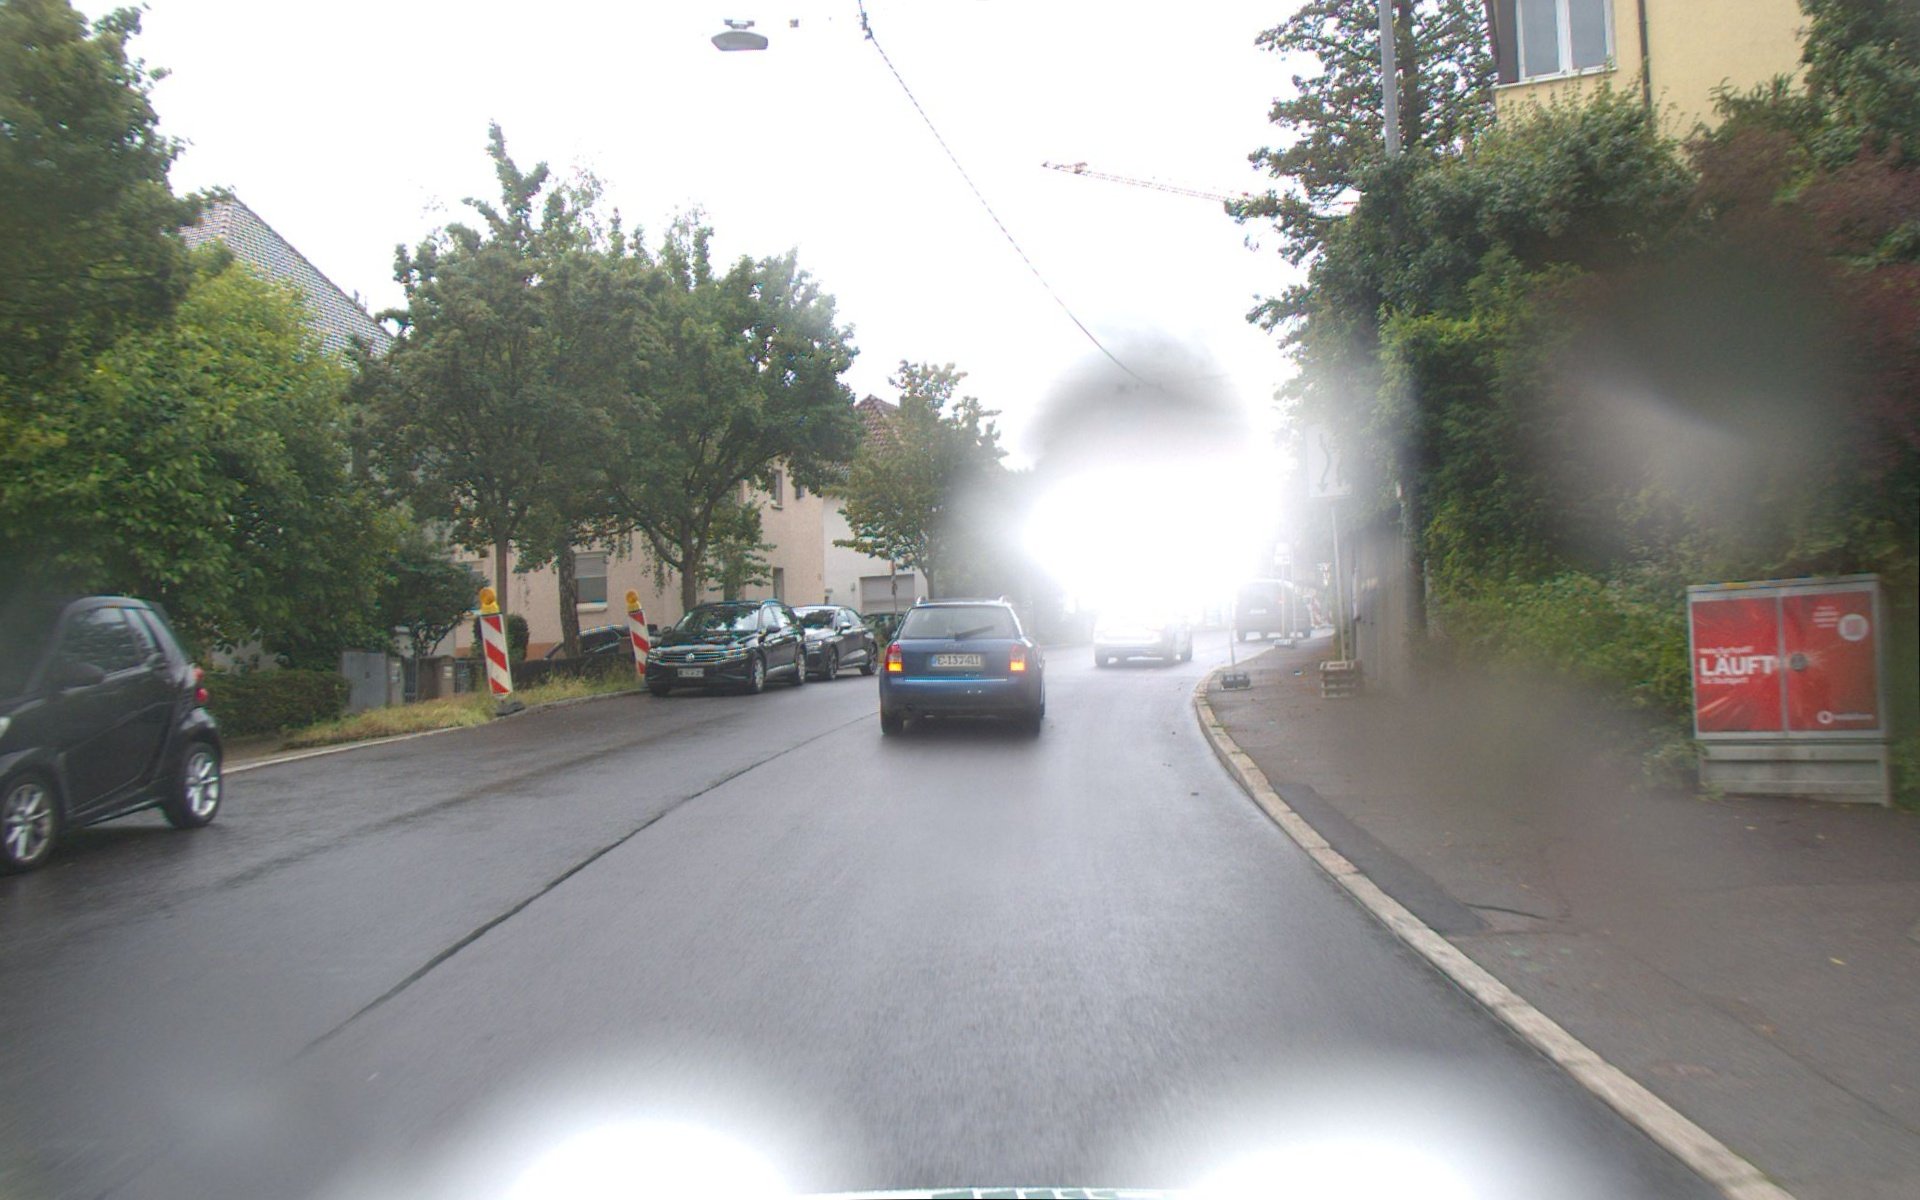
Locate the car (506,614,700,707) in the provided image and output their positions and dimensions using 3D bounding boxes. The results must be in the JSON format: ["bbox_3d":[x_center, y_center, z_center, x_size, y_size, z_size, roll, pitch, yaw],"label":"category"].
[{"bbox_3d":[-8.666,1.474,40.171,4.157,1.529,1.913,-11,-4,23],"label":"car"}]

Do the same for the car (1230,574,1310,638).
[{"bbox_3d":[9.795,0.171,52.031,1.695,1.927,4.055,0,0,22],"label":"car"}]

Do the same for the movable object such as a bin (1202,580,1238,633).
[{"bbox_3d":[13.056,0.328,83.087,1.287,2.549,1.385,-4,-1,26],"label":"movable object such as a bin"}]

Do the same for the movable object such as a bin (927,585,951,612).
[{"bbox_3d":[-0.735,-0.061,58.693,0.655,0.937,0.592,-1,0,23],"label":"movable object such as a bin"}]

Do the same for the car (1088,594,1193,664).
[{"bbox_3d":[4.130,0.612,37.216,1.868,1.412,4.354,-2,0,12],"label":"car"}]

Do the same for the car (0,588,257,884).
[{"bbox_3d":[-5.780,0.738,10.222,1.486,1.561,3.037,-1,0,1],"label":"car"}]

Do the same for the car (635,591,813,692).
[{"bbox_3d":[-3.803,0.645,27.483,1.695,1.510,4.534,-1,0,8],"label":"car"}]

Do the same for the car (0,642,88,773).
[{"bbox_3d":[-12.541,1.498,19.164,3.838,1.417,1.780,-9,-2,6],"label":"car"}]

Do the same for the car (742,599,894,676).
[{"bbox_3d":[-2.751,0.705,33.130,1.670,1.407,4.534,-1,0,13],"label":"car"}]

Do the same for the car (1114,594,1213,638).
[{"bbox_3d":[9.662,0.779,78.560,4.114,1.632,1.949,-7,-3,24],"label":"car"}]

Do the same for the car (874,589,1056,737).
[{"bbox_3d":[0.162,0.618,18.658,1.740,1.464,4.002,1,0,4],"label":"car"}]

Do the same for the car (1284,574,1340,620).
[{"bbox_3d":[13.411,-0.086,62.839,1.684,1.689,3.715,1,-1,18],"label":"car"}]

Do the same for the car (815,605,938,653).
[{"bbox_3d":[-2.906,0.979,57.615,3.860,1.570,1.863,1,1,23],"label":"car"}]
